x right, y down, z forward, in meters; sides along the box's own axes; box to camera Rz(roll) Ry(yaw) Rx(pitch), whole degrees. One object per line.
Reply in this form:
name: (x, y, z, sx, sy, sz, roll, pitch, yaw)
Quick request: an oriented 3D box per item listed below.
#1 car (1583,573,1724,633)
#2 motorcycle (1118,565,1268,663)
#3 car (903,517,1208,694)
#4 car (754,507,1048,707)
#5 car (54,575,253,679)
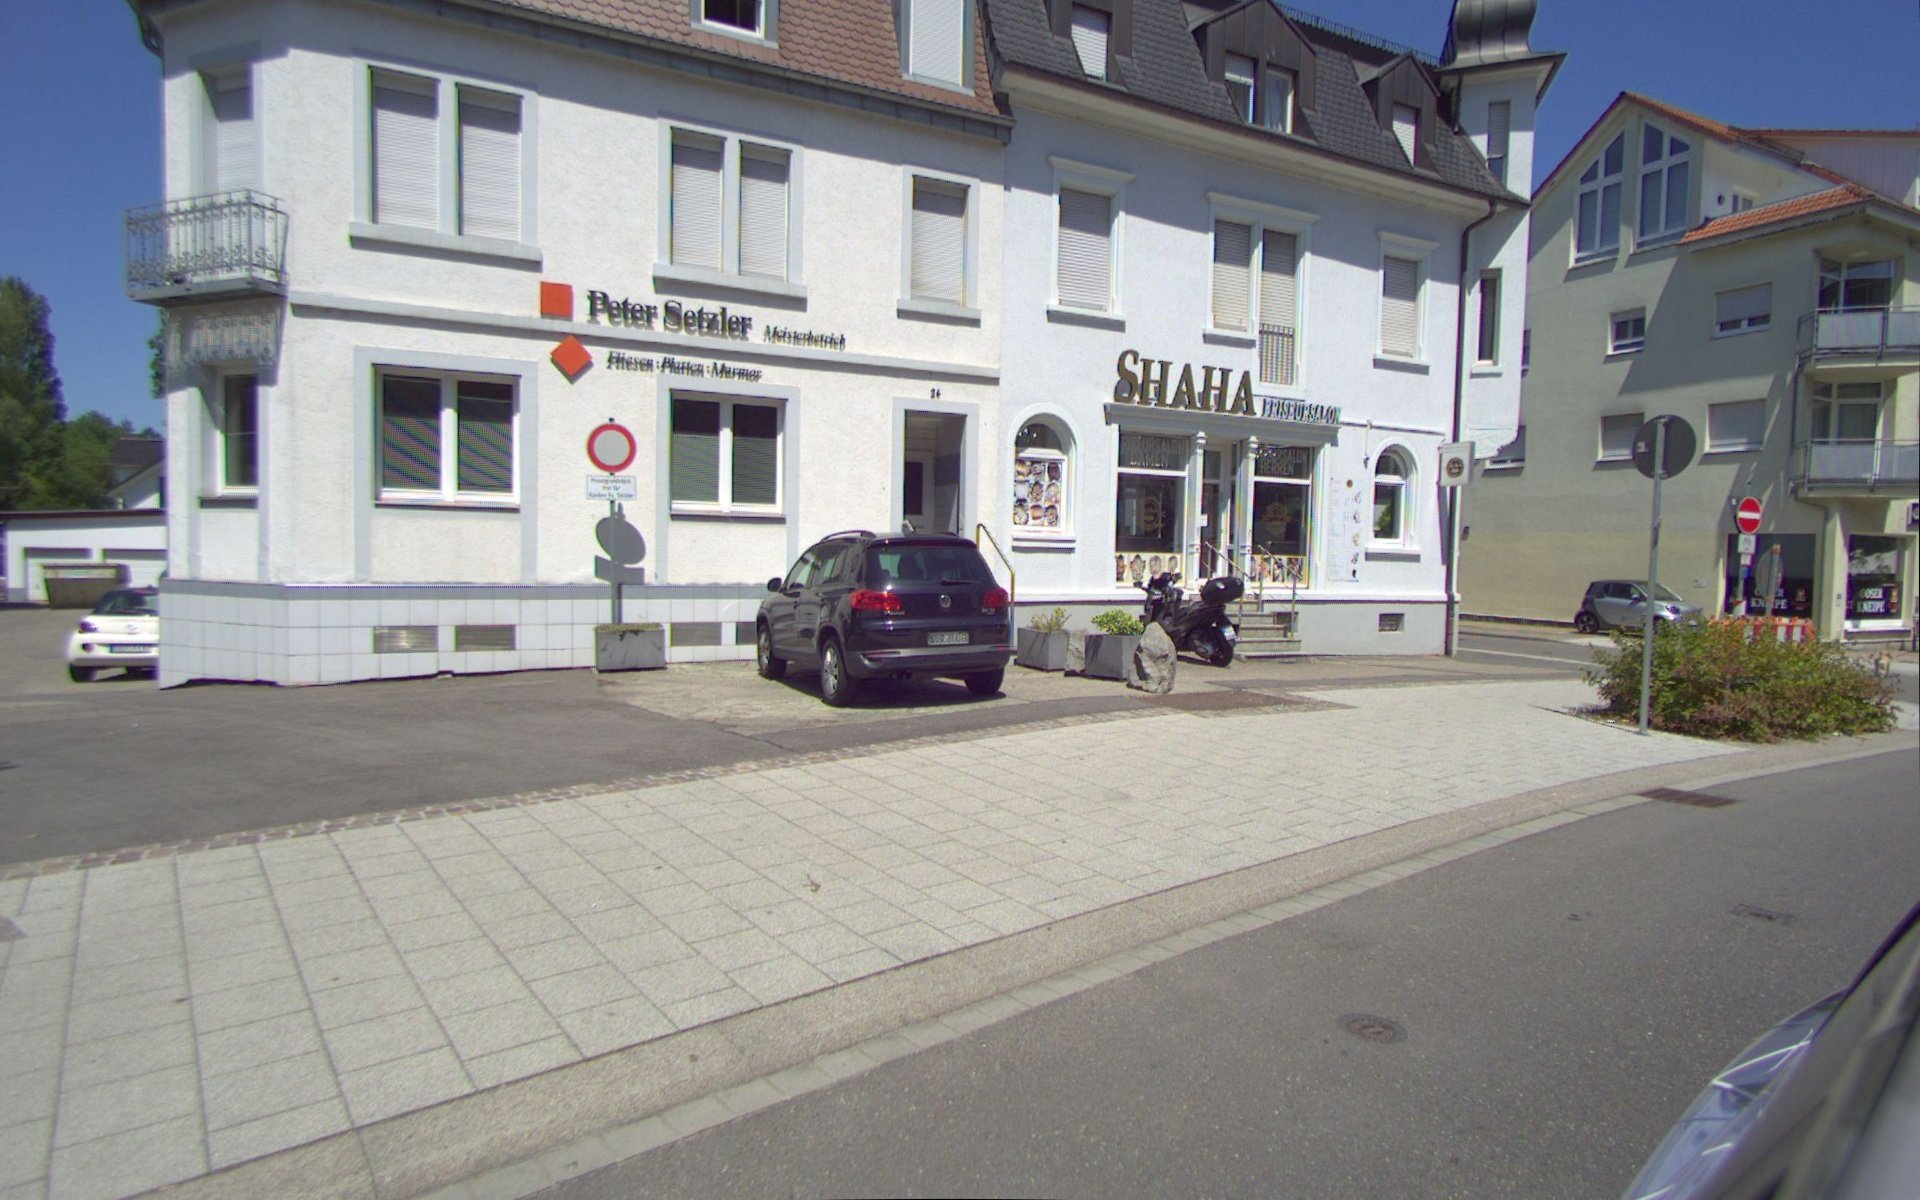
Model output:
car: (18.689, 0.024, 27.361, 1.499, 1.489, 2.742, 0, 2, -24)
motorcycle: (3.341, 0.155, 14.792, 0.838, 1.291, 2.390, 0, 2, -24)
car: (0.928, -0.019, 12.166, 1.818, 1.737, 4.096, 0, 2, -25)
car: (-0.862, -0.006, 11.047, 1.818, 1.737, 4.096, 0, 2, -25)
car: (-13.632, 0.430, 17.376, 1.763, 1.562, 4.036, 0, -1, -25)
